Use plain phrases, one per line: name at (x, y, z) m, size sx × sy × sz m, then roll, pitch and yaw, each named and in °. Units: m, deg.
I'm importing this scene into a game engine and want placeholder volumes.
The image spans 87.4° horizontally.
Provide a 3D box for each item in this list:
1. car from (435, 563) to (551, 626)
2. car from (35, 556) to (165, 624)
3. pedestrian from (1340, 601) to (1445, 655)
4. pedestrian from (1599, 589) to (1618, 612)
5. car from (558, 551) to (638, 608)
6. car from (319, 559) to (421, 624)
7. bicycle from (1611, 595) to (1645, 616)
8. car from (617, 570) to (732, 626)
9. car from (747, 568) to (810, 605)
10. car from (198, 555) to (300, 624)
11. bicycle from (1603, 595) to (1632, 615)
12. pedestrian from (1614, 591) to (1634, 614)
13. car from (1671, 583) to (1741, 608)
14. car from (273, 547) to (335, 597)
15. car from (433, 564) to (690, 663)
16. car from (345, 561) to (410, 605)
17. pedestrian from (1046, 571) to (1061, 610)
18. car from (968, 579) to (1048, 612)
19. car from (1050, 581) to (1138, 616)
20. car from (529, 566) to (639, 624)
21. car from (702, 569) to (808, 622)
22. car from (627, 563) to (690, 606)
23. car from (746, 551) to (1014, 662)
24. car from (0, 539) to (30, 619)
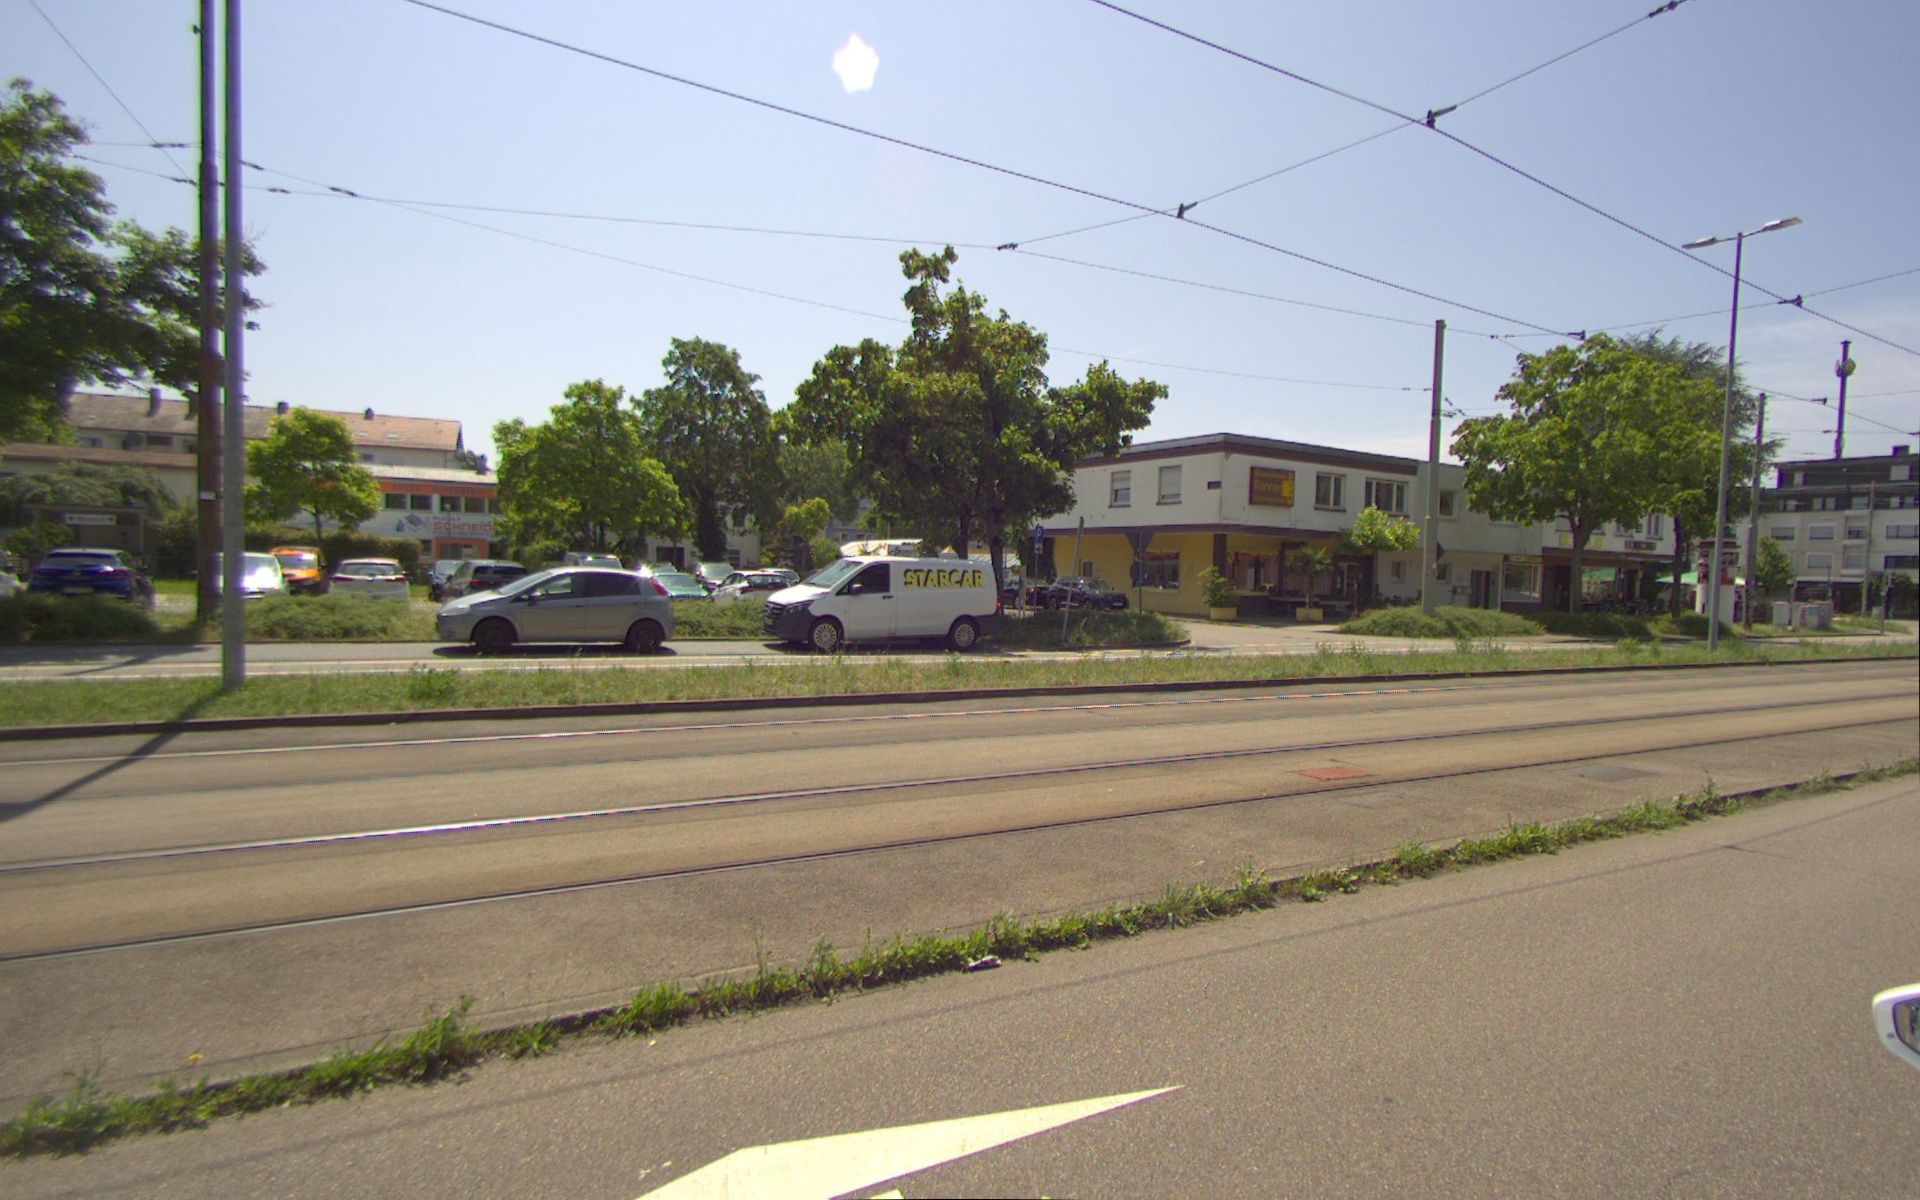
car at (-12.437, -0.193, 26.618) m, size 2.005 × 1.510 × 4.120 m, roll 0°, pitch 2°, yaw -37°
car at (-19.617, -0.222, 23.065) m, size 1.779 × 1.425 × 3.962 m, roll 0°, pitch 0°, yaw -34°
pedestrian at (17.507, 1.115, 40.668) m, size 3.954 × 2.040 × 1.983 m, roll 1°, pitch 0°, yaw -31°
pedestrian at (36.139, 0.024, 55.961) m, size 0.832 × 1.285 × 0.586 m, roll 1°, pitch 0°, yaw -30°
car at (-14.615, -0.793, 40.373) m, size 2.200 × 2.097 × 5.084 m, roll 1°, pitch 0°, yaw -30°
car at (-15.037, -0.243, 25.523) m, size 1.815 × 1.510 × 4.033 m, roll 0°, pitch 2°, yaw -37°
bicycle at (33.184, 0.263, 49.898) m, size 2.006 × 0.992 × 0.607 m, roll 1°, pitch 0°, yaw -31°
car at (-8.328, -0.057, 29.124) m, size 1.895 × 1.509 × 3.998 m, roll 1°, pitch 0°, yaw -37°
car at (-8.162, -0.586, 44.976) m, size 1.640 × 1.540 × 3.971 m, roll 1°, pitch 0°, yaw -27°
car at (-16.964, -0.278, 23.933) m, size 1.850 × 1.508 × 3.958 m, roll 0°, pitch 2°, yaw -37°
bicycle at (33.912, 0.284, 51.809) m, size 1.738 × 0.992 × 0.536 m, roll 1°, pitch 0°, yaw -31°
pedestrian at (36.624, 0.132, 55.428) m, size 0.832 × 1.285 × 0.586 m, roll 1°, pitch 0°, yaw -30°
car at (72.676, -0.426, 97.928) m, size 2.219 × 2.372 × 5.038 m, roll 1°, pitch 0°, yaw -31°
car at (-23.235, -0.967, 35.503) m, size 1.676 × 1.675 × 4.088 m, roll 0°, pitch 1°, yaw -35°
car at (-7.082, 0.226, 17.930) m, size 4.077 × 1.523 × 1.641 m, roll 1°, pitch 4°, yaw -30°
car at (-21.560, -0.613, 37.107) m, size 1.699 × 1.514 × 3.960 m, roll 1°, pitch 0°, yaw -35°
pedestrian at (4.501, -0.453, 48.398) m, size 0.466 × 1.823 × 0.484 m, roll 1°, pitch 0°, yaw -31°
car at (2.216, -0.207, 47.376) m, size 1.975 × 1.440 × 4.114 m, roll 1°, pitch 0°, yaw -28°
car at (5.537, -0.091, 41.909) m, size 1.661 × 1.314 × 3.970 m, roll 0°, pitch 2°, yaw -28°
car at (-10.658, -0.138, 28.302) m, size 1.843 × 1.509 × 4.103 m, roll 1°, pitch 0°, yaw -37°
car at (-6.429, -0.169, 31.136) m, size 1.962 × 1.510 × 4.139 m, roll 0°, pitch 1°, yaw -31°
car at (-12.529, -0.620, 41.547) m, size 1.781 × 1.678 × 3.971 m, roll 1°, pitch 0°, yaw -27°
car at (-1.628, 0.115, 21.158) m, size 5.280 × 2.038 × 1.866 m, roll 1°, pitch 4°, yaw -30°
car at (-22.079, -0.483, 22.079) m, size 1.779 × 1.741 × 3.962 m, roll 0°, pitch 2°, yaw -34°
